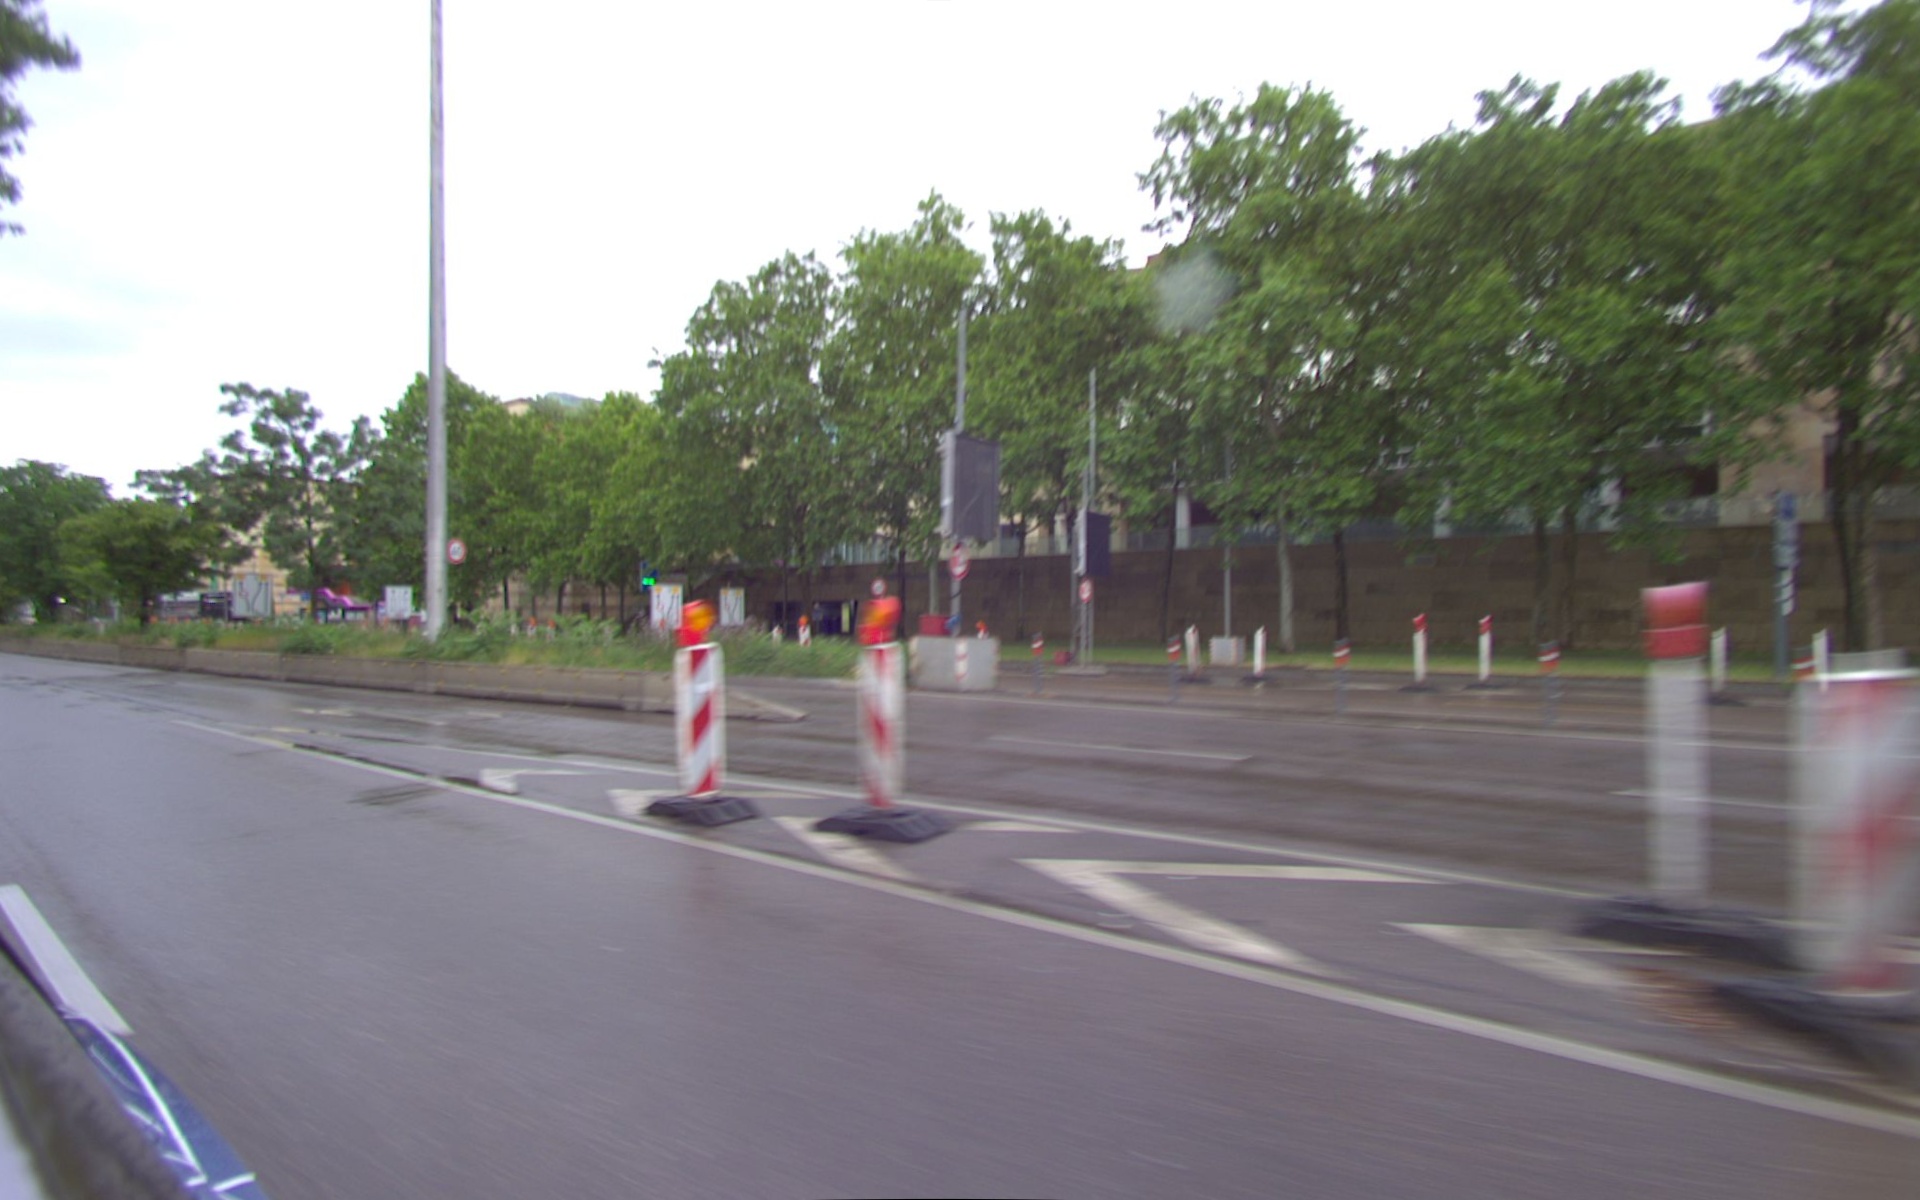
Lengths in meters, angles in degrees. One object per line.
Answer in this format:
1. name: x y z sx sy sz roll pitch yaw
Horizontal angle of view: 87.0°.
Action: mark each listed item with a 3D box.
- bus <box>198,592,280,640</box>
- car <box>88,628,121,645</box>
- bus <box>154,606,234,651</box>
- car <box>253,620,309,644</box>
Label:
1. bus: -68.765 1.531 96.299 13.484 4.284 3.087 -1 0 40
2. car: -81.110 3.439 95.947 3.206 1.512 1.578 -1 0 34
3. bus: -70.364 2.578 92.781 14.587 3.840 2.775 -1 0 41
4. car: -45.049 2.117 67.167 3.996 1.541 1.974 0 -2 39
